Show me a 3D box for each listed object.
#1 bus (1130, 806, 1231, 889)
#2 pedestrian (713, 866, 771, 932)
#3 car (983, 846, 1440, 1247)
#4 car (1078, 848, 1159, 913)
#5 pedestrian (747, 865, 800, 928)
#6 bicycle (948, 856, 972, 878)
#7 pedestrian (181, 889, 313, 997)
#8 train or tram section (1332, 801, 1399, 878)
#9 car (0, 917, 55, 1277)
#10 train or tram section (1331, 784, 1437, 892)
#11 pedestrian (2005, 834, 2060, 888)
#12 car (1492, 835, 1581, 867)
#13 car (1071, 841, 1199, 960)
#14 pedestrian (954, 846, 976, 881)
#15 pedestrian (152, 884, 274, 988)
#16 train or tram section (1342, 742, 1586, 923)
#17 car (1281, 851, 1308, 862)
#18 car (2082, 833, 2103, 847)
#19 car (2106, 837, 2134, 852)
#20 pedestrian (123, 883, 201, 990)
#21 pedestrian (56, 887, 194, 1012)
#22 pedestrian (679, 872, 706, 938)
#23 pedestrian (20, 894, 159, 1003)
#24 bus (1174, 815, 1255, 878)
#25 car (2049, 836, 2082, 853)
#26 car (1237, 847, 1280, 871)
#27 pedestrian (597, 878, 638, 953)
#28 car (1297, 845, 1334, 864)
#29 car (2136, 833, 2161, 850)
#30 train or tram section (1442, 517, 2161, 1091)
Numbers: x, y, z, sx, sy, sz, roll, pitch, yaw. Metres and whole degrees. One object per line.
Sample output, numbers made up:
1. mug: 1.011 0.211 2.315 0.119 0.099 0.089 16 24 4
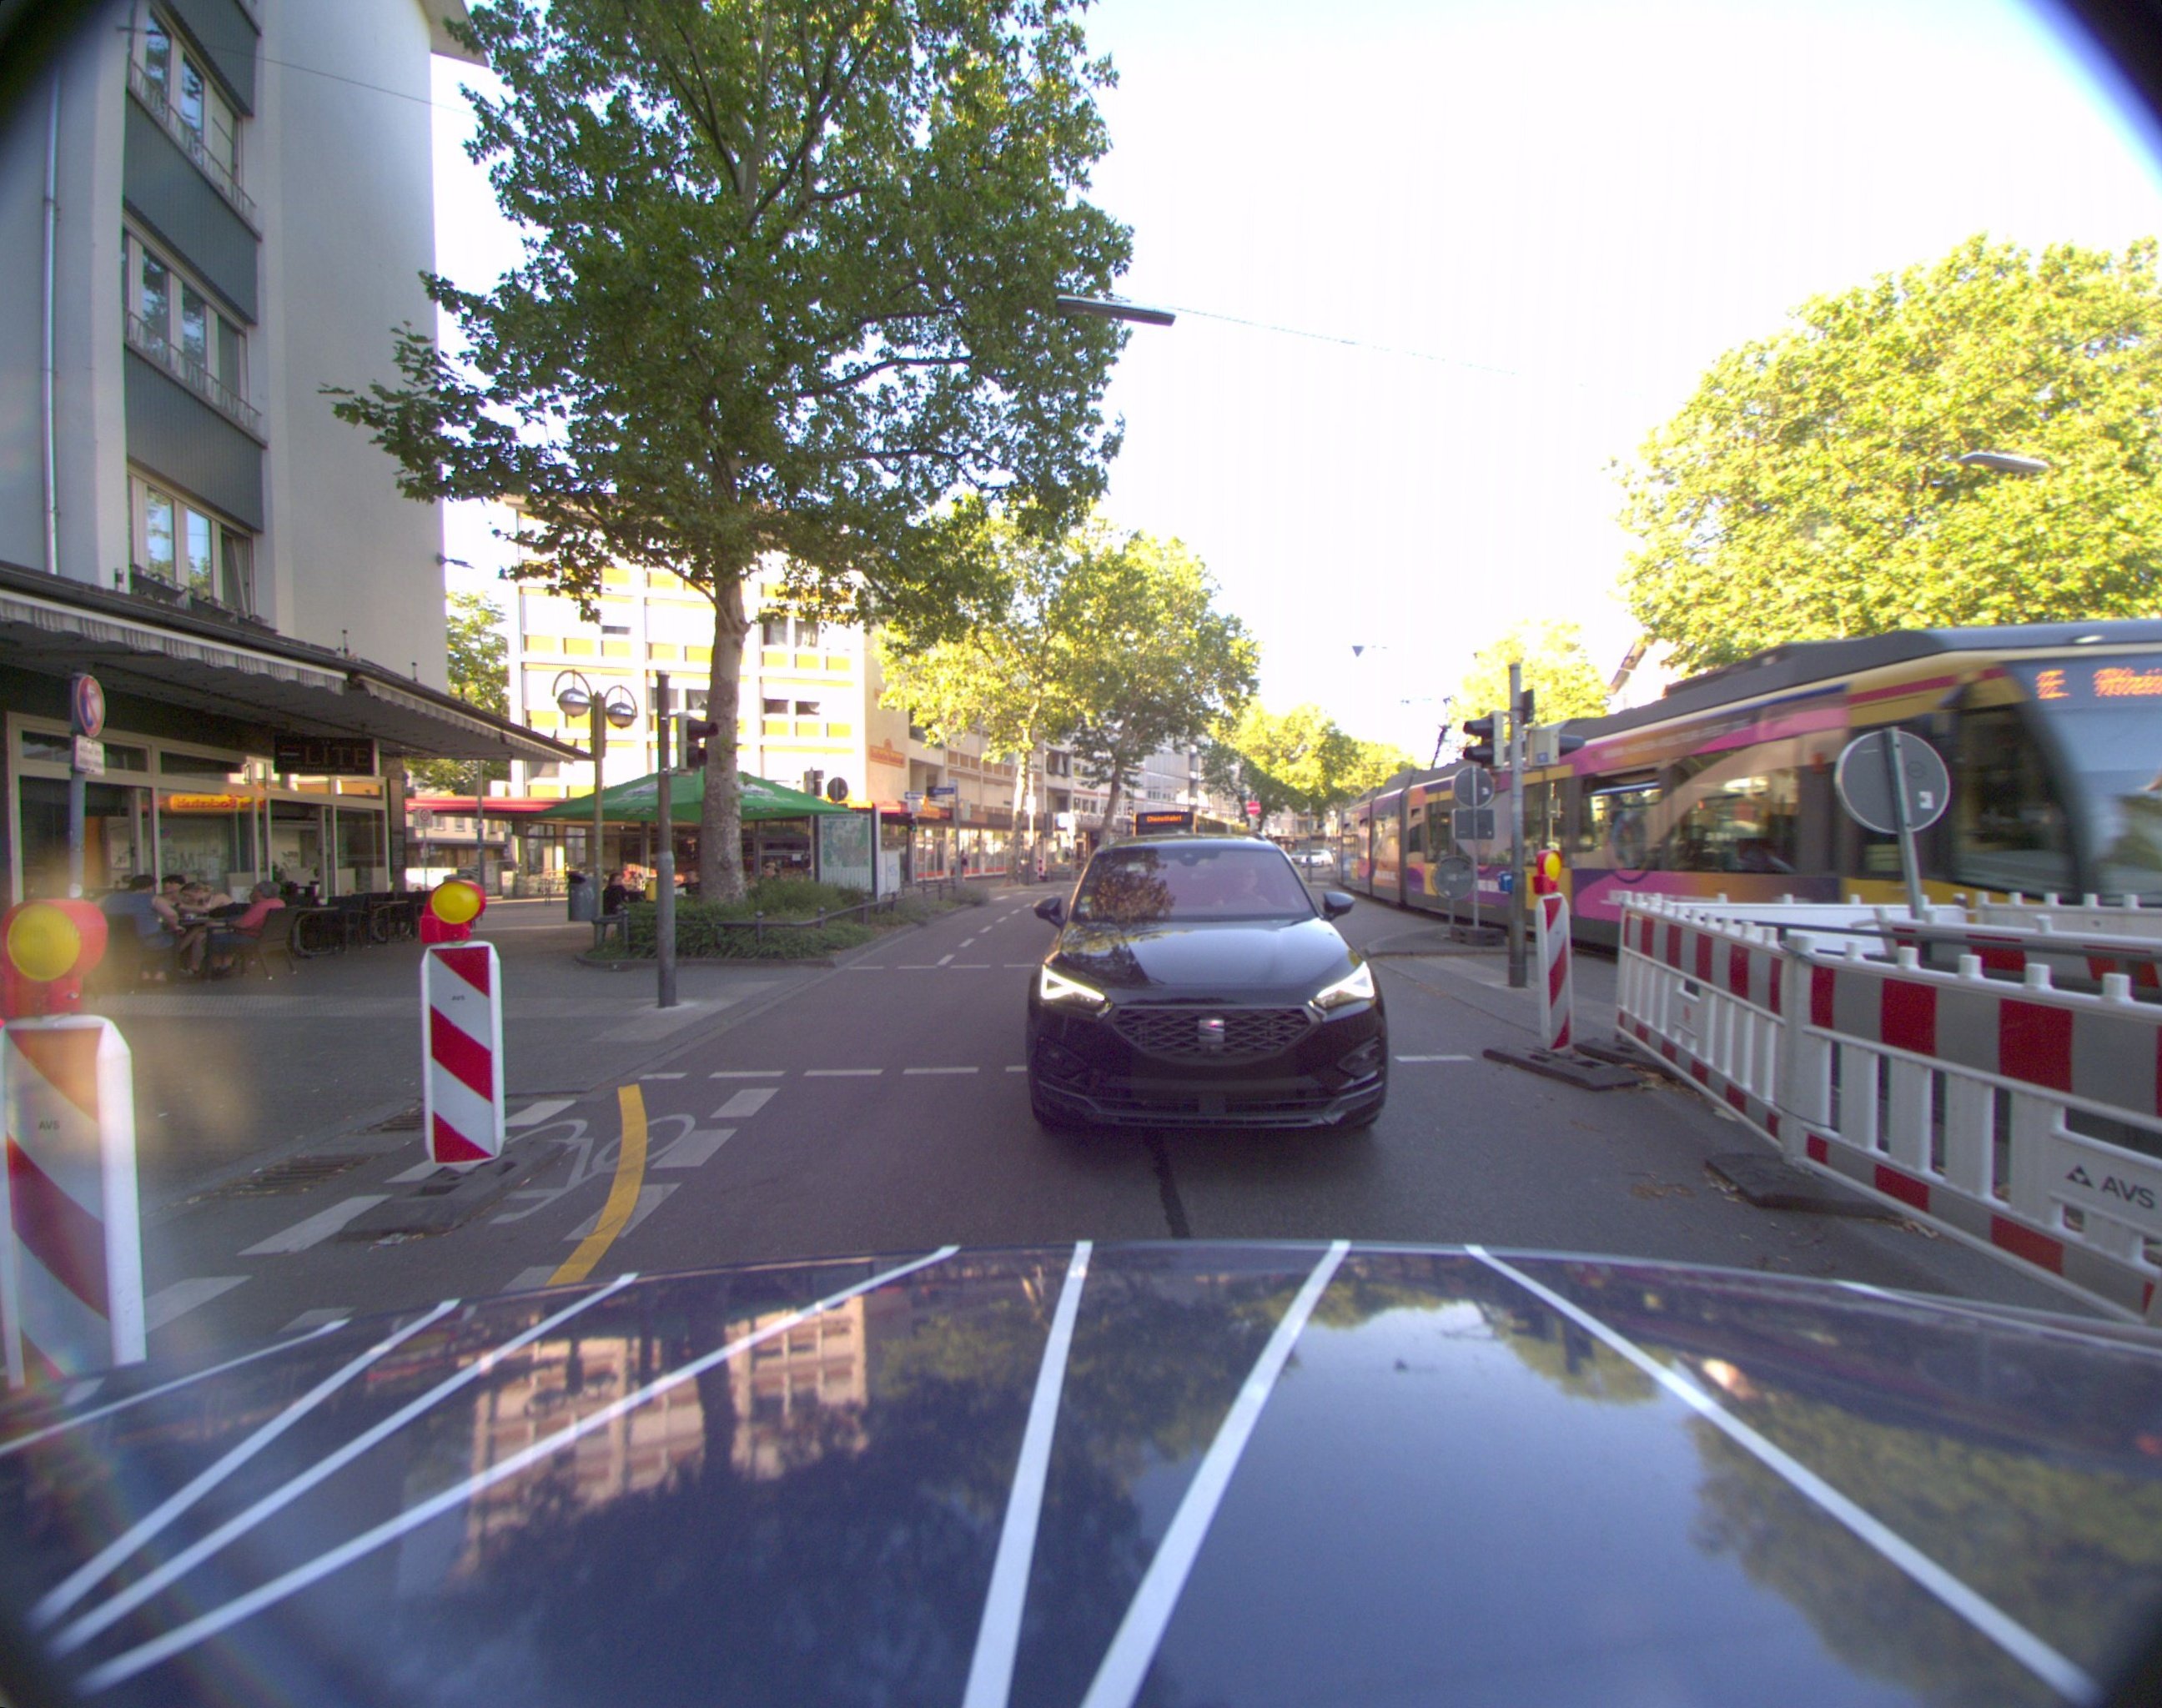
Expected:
1. bus: 4.621 -0.280 33.176 2.749 3.085 9.508 0 1 17
2. pedestrian: -6.809 0.889 15.266 0.718 1.278 0.769 -1 1 14
3. car: 0.684 0.802 5.317 1.848 1.648 4.300 -2 0 4
4. car: 1.102 0.624 20.156 1.743 1.492 4.301 -2 0 7
5. pedestrian: -6.541 0.886 16.190 0.718 1.278 0.769 -1 1 13
6. bicycle: -6.669 0.699 42.038 0.528 1.136 1.976 -1 1 15
7. pedestrian: -9.847 1.021 9.005 0.847 1.191 0.649 0 0 -22
8. train or tram section: 14.689 -0.703 39.525 2.838 3.467 10.352 -1 1 19
9. car: -5.158 0.992 1.431 1.623 1.457 3.604 1 0 -2
10. train or tram section: 11.475 -0.558 29.708 2.874 3.467 10.350 -1 1 16
11. pedestrian: 31.611 0.232 25.260 0.797 1.746 0.802 -1 1 0
12. car: 25.583 -0.178 42.899 1.900 1.657 4.584 -2 1 -6
13. car: 0.970 0.642 12.792 1.743 1.630 4.300 -2 0 6
14. pedestrian: -5.860 0.452 38.294 0.748 1.747 0.903 0 1 17
15. pedestrian: -10.692 0.988 9.385 0.666 1.211 0.717 0 0 -5
16. train or tram section: 9.162 -0.449 19.861 2.840 3.467 10.345 -1 1 10
17. car: 23.925 0.301 85.034 2.629 1.209 1.200 -1 2 -6
18. car: 155.897 -2.181 117.065 4.007 2.004 1.846 -1 1 -36
19. car: 108.557 -1.012 79.376 4.008 1.485 1.723 0 0 -36
20. pedestrian: -11.243 0.988 9.298 0.519 1.236 0.553 0 0 34
21. pedestrian: -10.219 0.986 8.154 0.651 1.244 0.716 0 0 -24
22. pedestrian: -7.411 0.962 14.489 0.433 1.212 0.467 0 1 -29
23. pedestrian: -11.086 1.028 8.529 0.718 1.123 0.649 1 0 -24
24. bus: 7.641 -0.415 42.165 2.749 3.085 9.510 0 1 20
25. car: 91.083 -0.911 70.259 4.007 1.485 1.723 -1 1 -36
26. car: 12.043 0.297 51.464 1.908 1.467 4.425 0 2 26
27. pedestrian: -7.781 1.012 12.754 0.469 1.212 0.431 -2 1 -44
28. car: 20.361 0.037 65.739 1.952 1.541 4.765 0 2 31
29. car: 98.376 -1.178 69.788 4.007 1.485 1.723 -1 1 -36
30. train or tram section: 7.961 -0.362 9.640 2.822 3.467 10.342 -1 1 6
